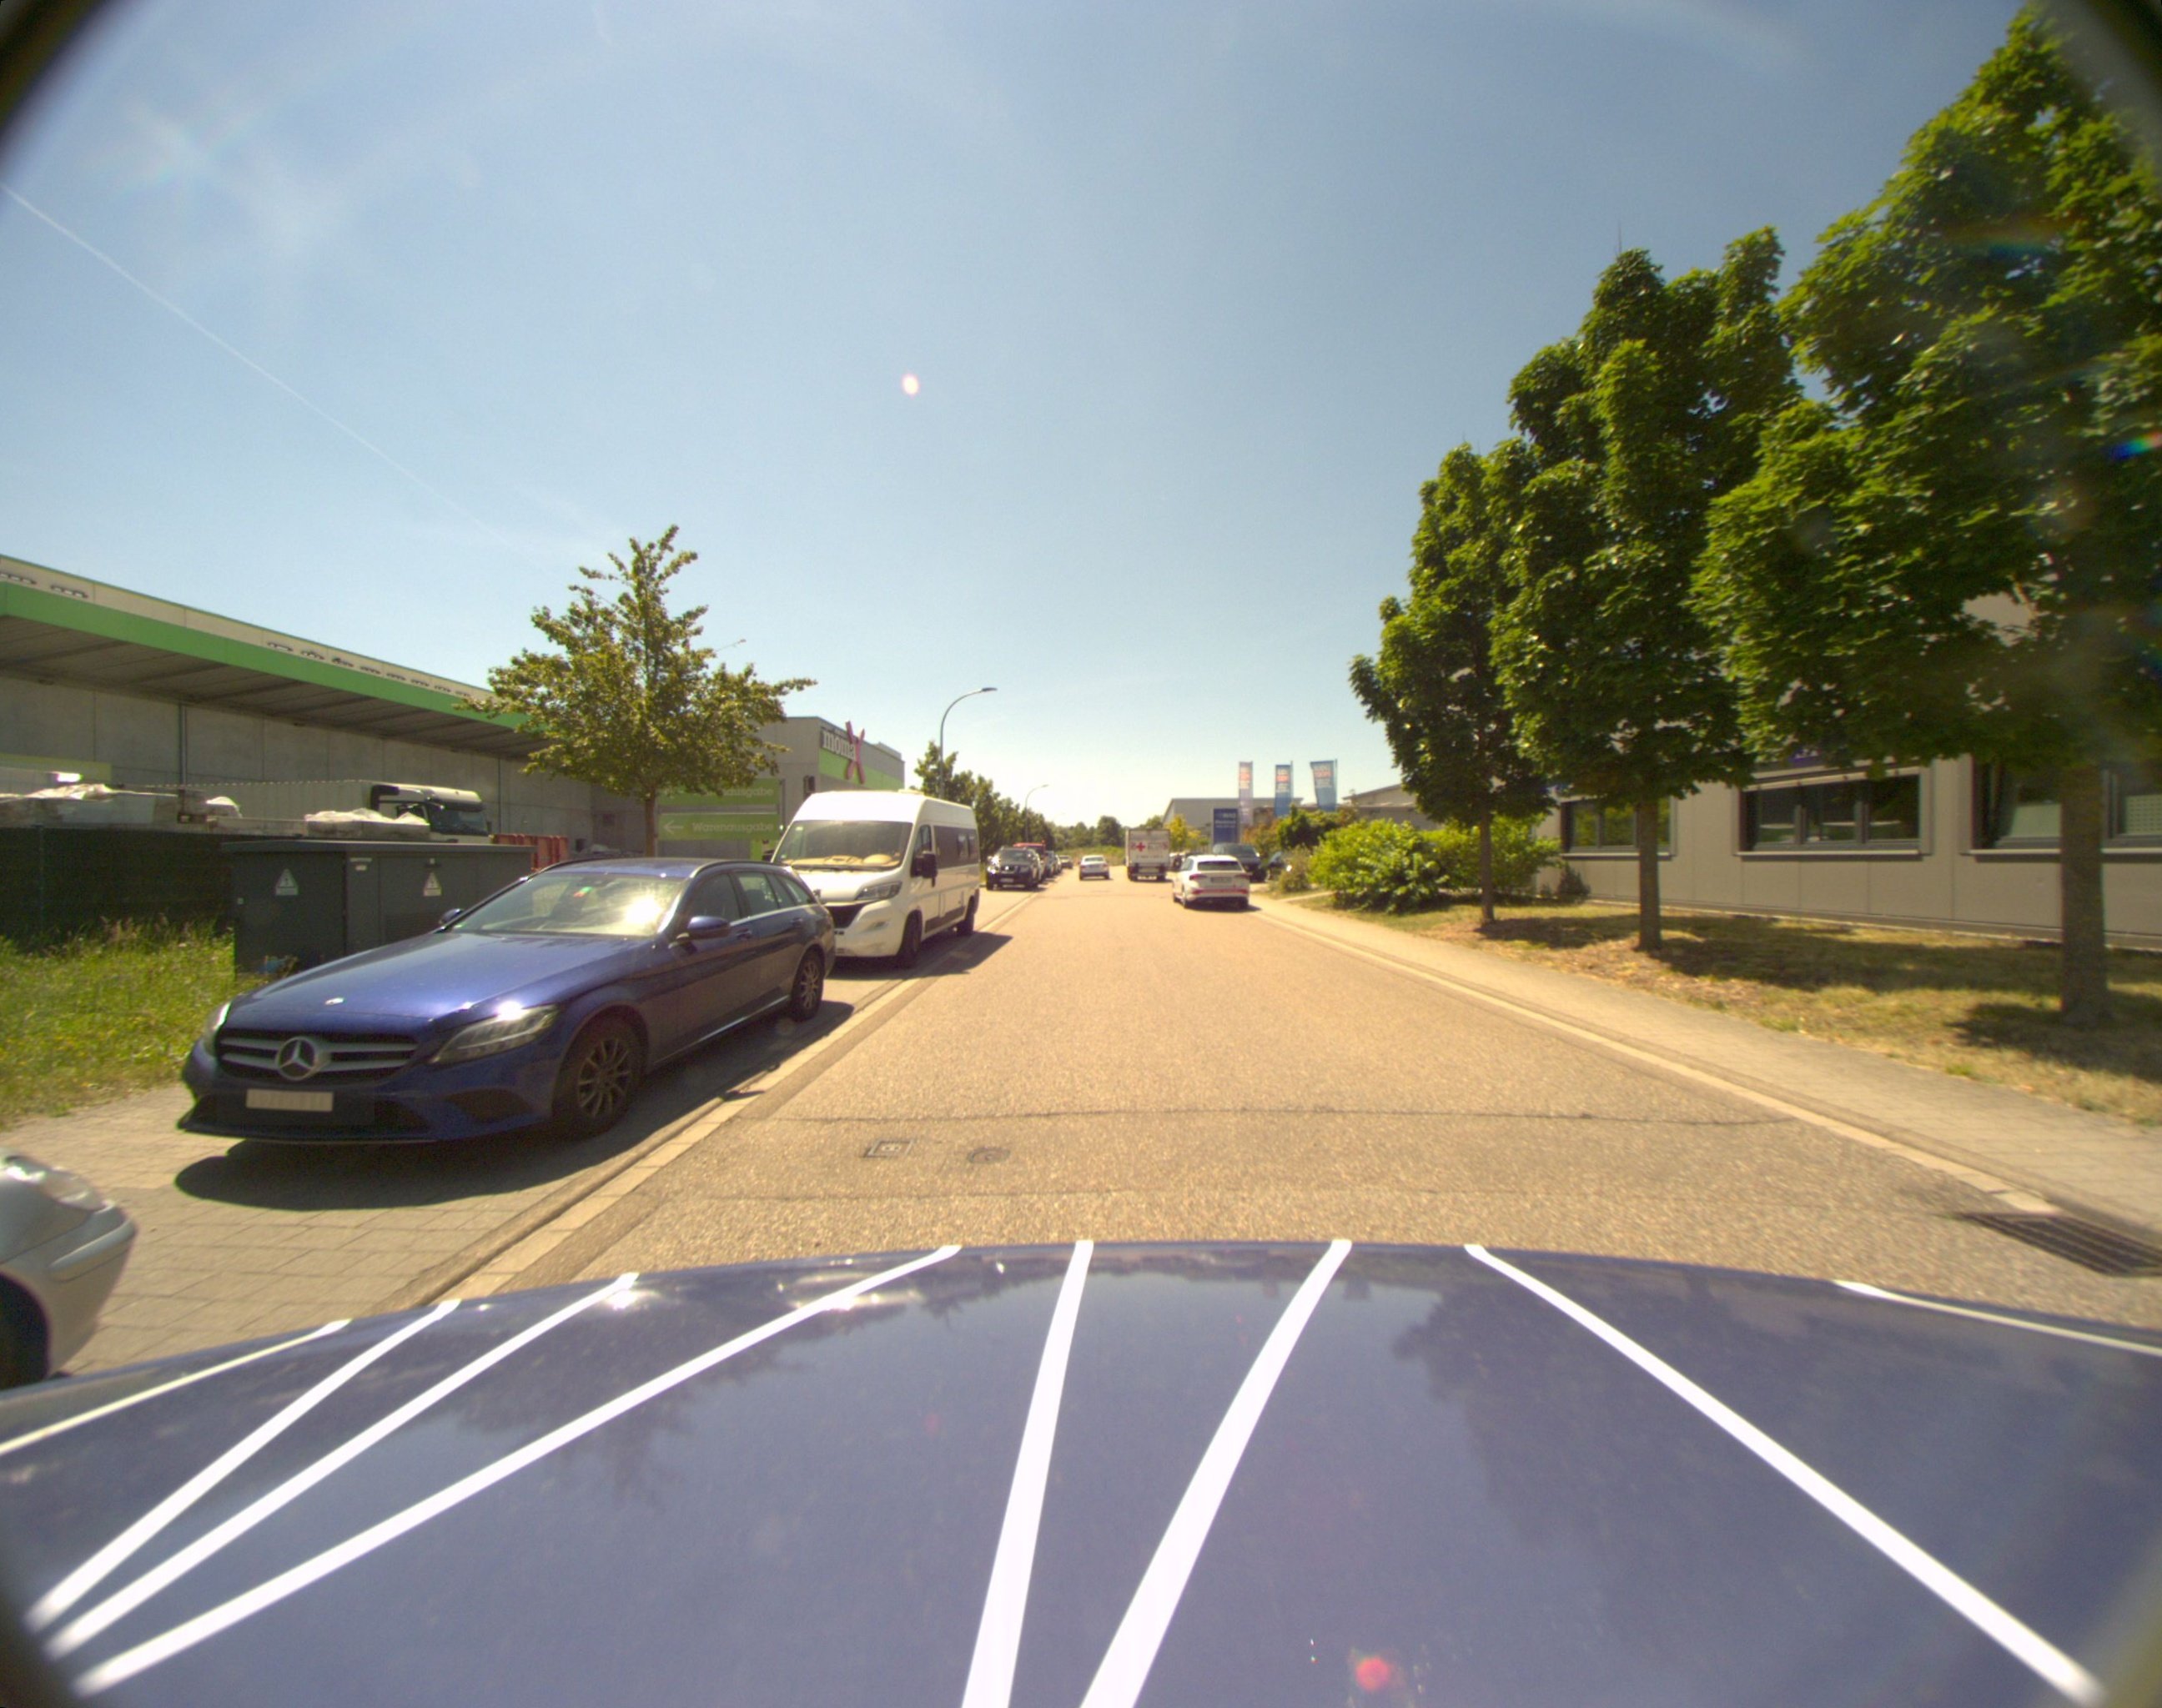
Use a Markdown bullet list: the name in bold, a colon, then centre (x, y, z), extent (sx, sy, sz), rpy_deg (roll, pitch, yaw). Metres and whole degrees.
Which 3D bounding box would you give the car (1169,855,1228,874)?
- **car**: centre (9.005, 0.782, 58.683), extent (4.319, 1.423, 1.847), rpy_deg (-1, 0, 2)

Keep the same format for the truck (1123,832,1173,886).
- **truck**: centre (3.734, 0.234, 43.568), extent (2.367, 2.843, 6.415), rpy_deg (2, 1, 1)

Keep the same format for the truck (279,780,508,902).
- **truck**: centre (-22.966, -0.424, 25.629), extent (5.075, 3.853, 2.804), rpy_deg (-1, 1, 1)

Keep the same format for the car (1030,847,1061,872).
- **car**: centre (-2.528, 0.419, 55.267), extent (1.815, 1.715, 4.774), rpy_deg (1, 0, 2)

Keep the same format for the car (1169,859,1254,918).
- **car**: centre (3.656, 0.913, 22.061), extent (1.734, 1.450, 4.491), rpy_deg (-1, 0, 1)

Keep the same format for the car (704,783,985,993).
- **car**: centre (-3.202, 0.388, 12.094), extent (2.273, 2.483, 6.153), rpy_deg (0, 0, 3)

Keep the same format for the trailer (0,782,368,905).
- **trailer**: centre (-31.833, -0.342, 25.816), extent (12.649, 3.853, 2.803), rpy_deg (-1, 1, 1)

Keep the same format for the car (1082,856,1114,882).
- **car**: centre (1.049, 0.860, 45.199), extent (1.787, 1.414, 4.414), rpy_deg (1, 1, 2)

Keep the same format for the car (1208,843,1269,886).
- **car**: centre (7.682, 0.481, 37.551), extent (1.998, 1.945, 5.218), rpy_deg (-1, 0, 1)

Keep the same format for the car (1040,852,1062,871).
- **car**: centre (-2.398, 0.582, 60.829), extent (1.718, 1.474, 4.772), rpy_deg (1, 0, -2)

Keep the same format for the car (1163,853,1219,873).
- **car**: centre (8.883, 0.723, 61.431), extent (4.273, 1.509, 1.866), rpy_deg (-1, 0, 0)

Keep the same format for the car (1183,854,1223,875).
- **car**: centre (9.057, 0.766, 56.468), extent (2.748, 1.509, 1.535), rpy_deg (-1, 0, 0)

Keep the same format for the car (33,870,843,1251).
- **car**: centre (-3.411, 0.902, 5.418), extent (1.833, 1.485, 4.479), rpy_deg (0, 0, 3)

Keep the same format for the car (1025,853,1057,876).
- **car**: centre (-2.534, 0.623, 49.528), extent (1.702, 1.375, 4.837), rpy_deg (1, 0, 1)

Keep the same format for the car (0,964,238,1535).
- **car**: centre (-3.499, 1.007, 0.254), extent (1.715, 1.280, 4.115), rpy_deg (0, 1, 3)

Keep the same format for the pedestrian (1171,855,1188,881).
- **pedestrian**: centre (5.908, 0.838, 45.620), extent (0.901, 1.565, 0.785), rpy_deg (-2, 0, 2)

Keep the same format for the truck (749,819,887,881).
- **truck**: centre (-12.644, -0.194, 36.855), extent (5.836, 2.896, 2.414), rpy_deg (0, 1, 0)

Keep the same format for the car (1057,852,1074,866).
- **car**: centre (-1.765, 0.588, 89.702), extent (1.809, 1.626, 4.458), rpy_deg (1, 0, 1)

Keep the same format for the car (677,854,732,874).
- **car**: centre (-28.615, 0.741, 57.807), extent (3.395, 1.524, 1.550), rpy_deg (0, 1, 3)

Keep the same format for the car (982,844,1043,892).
- **car**: centre (-2.840, 0.530, 32.638), extent (1.998, 1.874, 5.155), rpy_deg (1, 0, 1)

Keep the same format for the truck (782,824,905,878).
- **truck**: centre (-12.707, -0.164, 40.993), extent (5.918, 2.855, 2.306), rpy_deg (0, 1, -2)

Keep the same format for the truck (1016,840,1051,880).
- **truck**: centre (-2.698, 0.315, 43.985), extent (1.683, 2.169, 4.390), rpy_deg (1, 0, 1)

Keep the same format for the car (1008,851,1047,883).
- **car**: centre (-2.752, 0.657, 39.503), extent (1.743, 1.522, 3.999), rpy_deg (1, 0, -1)

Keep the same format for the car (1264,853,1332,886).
- **car**: centre (10.378, 0.709, 36.734), extent (1.936, 1.408, 4.769), rpy_deg (-2, 0, 1)
